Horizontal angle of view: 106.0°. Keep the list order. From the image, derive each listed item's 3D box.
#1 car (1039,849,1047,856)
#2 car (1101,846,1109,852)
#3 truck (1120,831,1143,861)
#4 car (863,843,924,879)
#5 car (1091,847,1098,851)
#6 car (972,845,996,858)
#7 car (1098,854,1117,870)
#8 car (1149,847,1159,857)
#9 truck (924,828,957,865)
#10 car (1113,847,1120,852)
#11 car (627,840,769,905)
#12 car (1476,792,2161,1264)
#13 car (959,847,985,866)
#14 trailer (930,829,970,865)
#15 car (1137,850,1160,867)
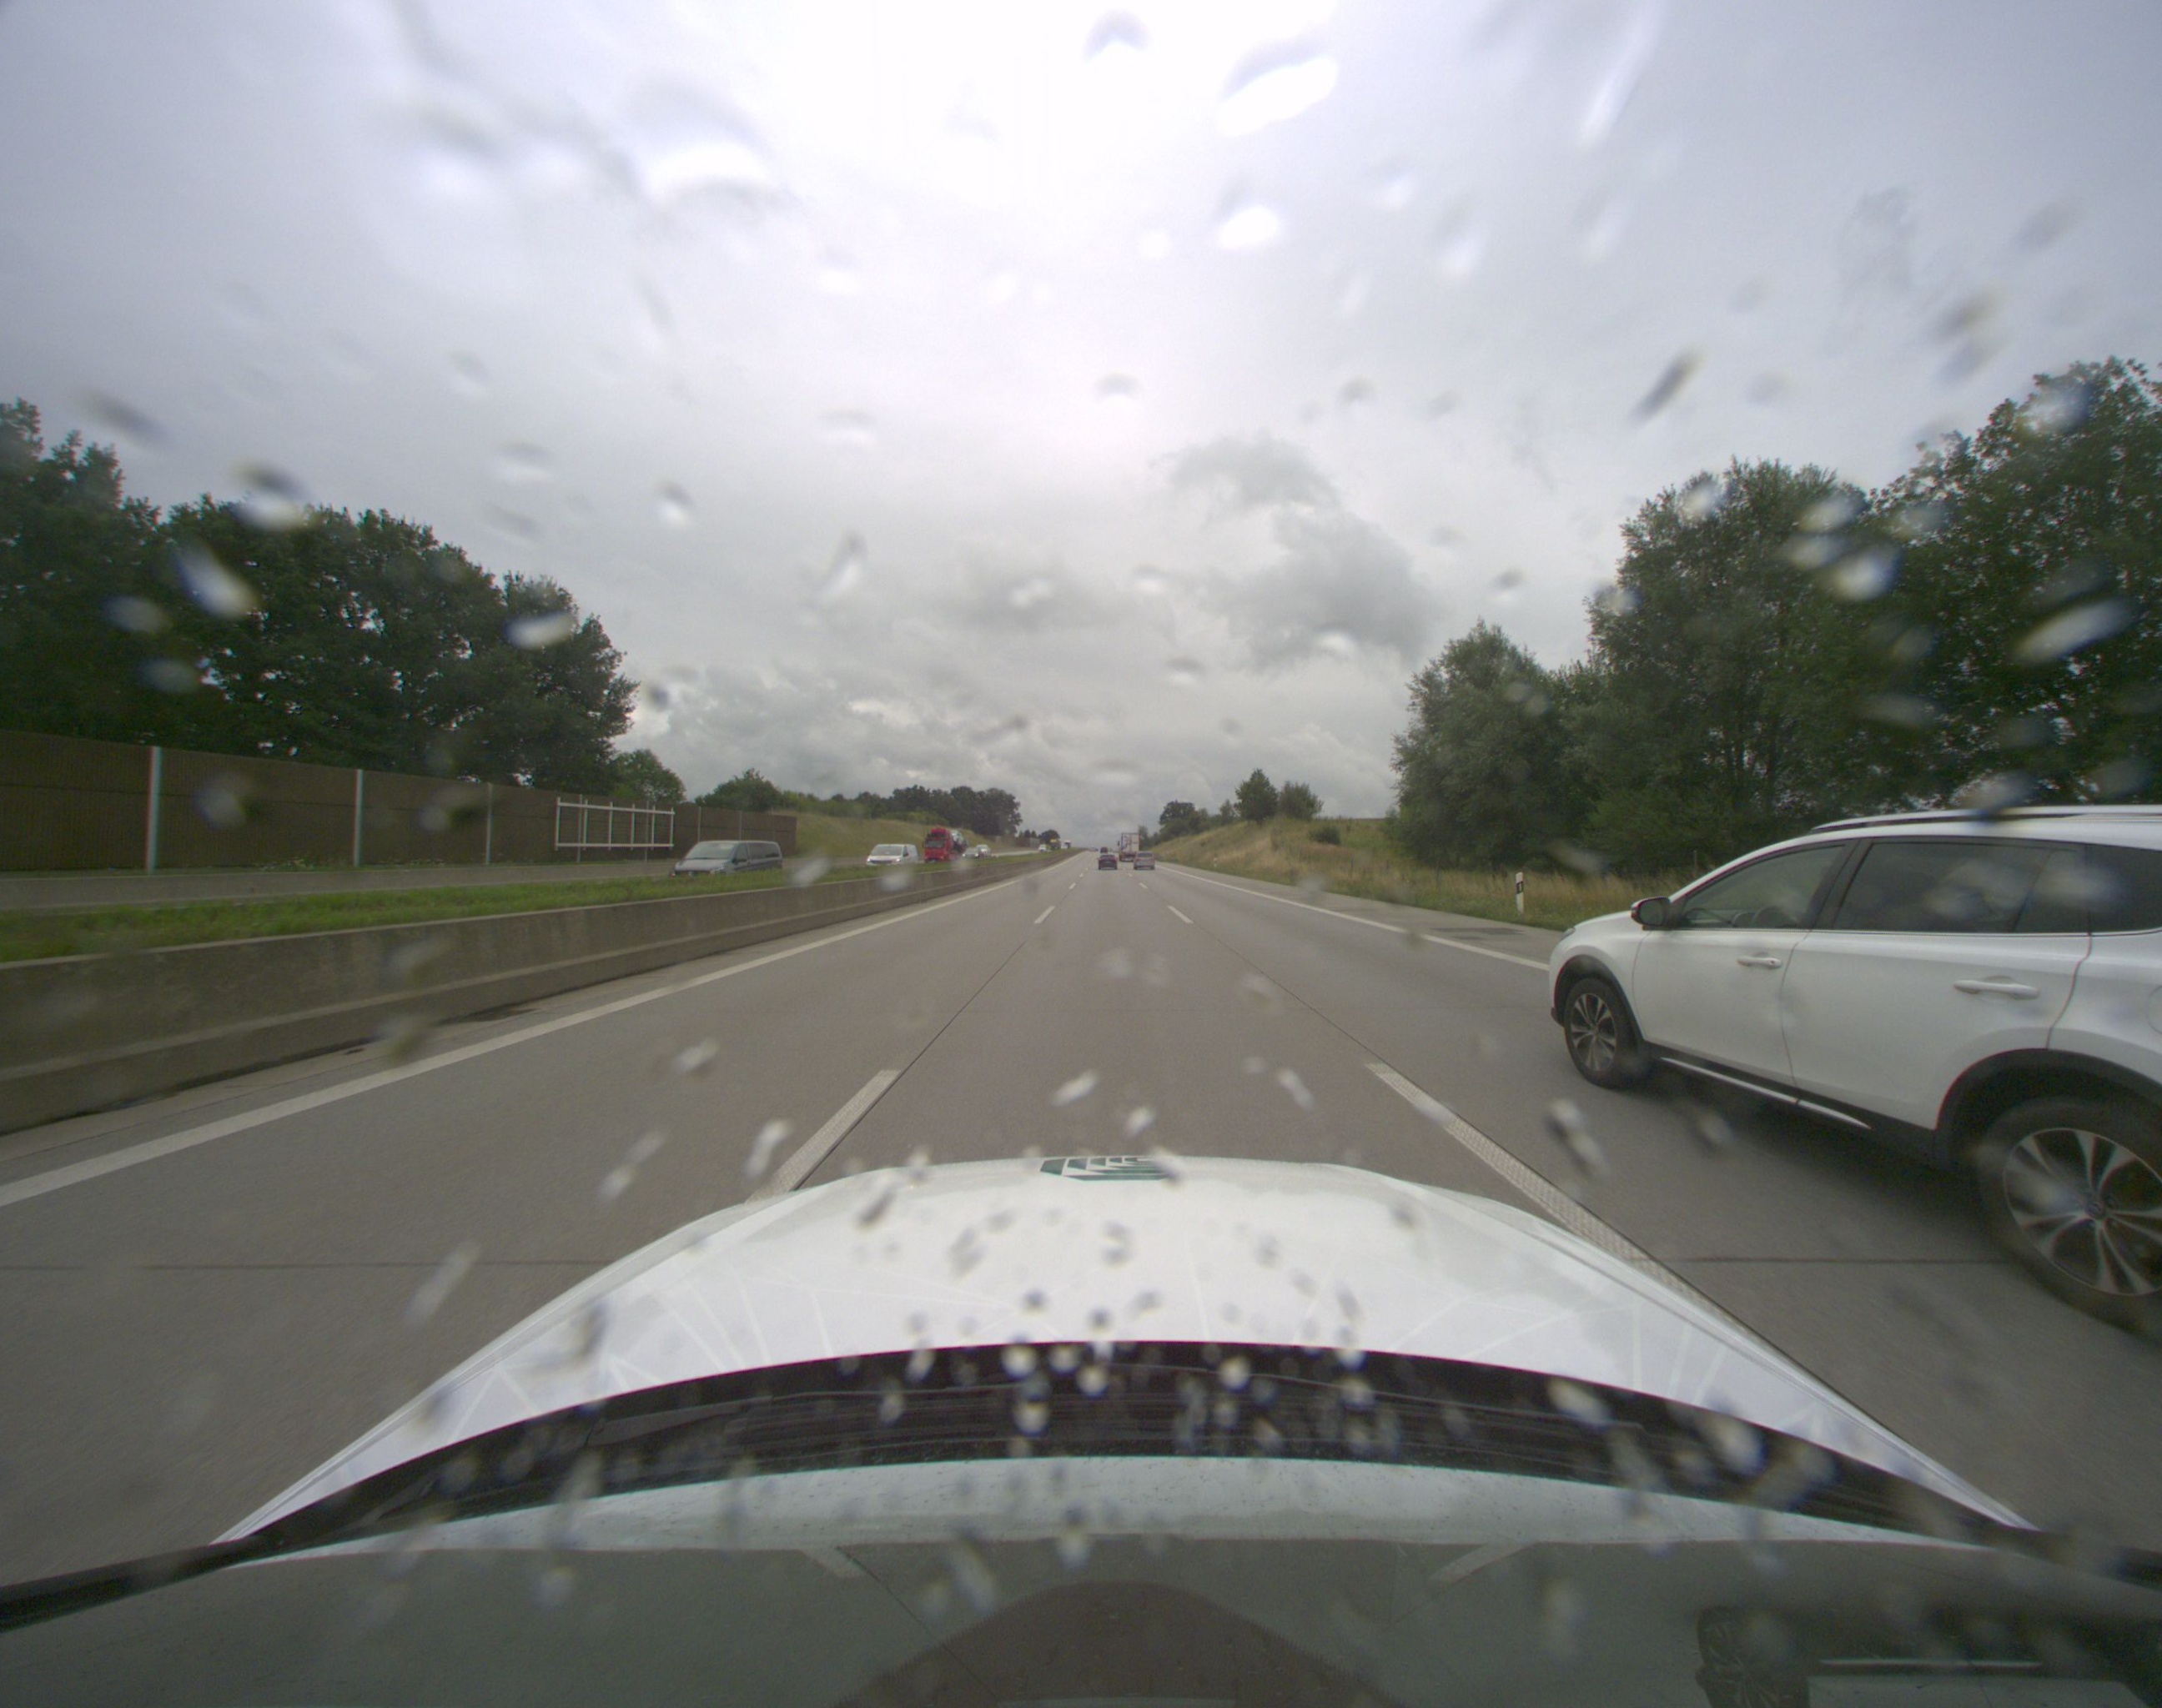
[{"bbox_3d":[-9.527,-0.426,205.284,1.755,1.860,4.001,0,0,1],"label":"car"},{"bbox_3d":[6.193,-1.333,212.144,1.927,1.375,4.597,0,-1,3],"label":"car"},{"bbox_3d":[7.167,-1.038,116.527,3.006,4.180,8.357,0,-1,2],"label":"truck"},{"bbox_3d":[-10.181,0.351,44.721,1.986,1.886,5.514,0,0,1],"label":"car"},{"bbox_3d":[4.254,-1.483,252.566,1.939,1.356,4.262,0,0,3],"label":"car"},{"bbox_3d":[-12.043,-0.353,101.399,2.141,1.551,5.351,0,1,1],"label":"car"},{"bbox_3d":[2.429,0.780,75.330,1.746,1.398,4.484,0,-1,1],"label":"car"},{"bbox_3d":[15.198,-0.426,169.598,1.985,2.014,4.004,0,-1,4],"label":"car"},{"bbox_3d":[-16.613,-0.816,96.750,2.543,4.252,7.464,0,0,1],"label":"truck"},{"bbox_3d":[10.661,-1.339,243.229,1.985,1.640,4.004,0,-1,4],"label":"car"},{"bbox_3d":[-12.311,0.560,26.674,1.986,1.919,5.347,0,0,1],"label":"car"},{"bbox_3d":[4.199,0.605,4.851,1.819,1.655,3.986,0,0,1],"label":"car"},{"bbox_3d":[-12.412,0.284,93.094,2.141,2.013,5.750,0,0,1],"label":"car"},{"bbox_3d":[-16.450,-0.806,103.580,2.543,4.218,13.991,0,0,1],"label":"trailer"},{"bbox_3d":[6.079,0.419,73.997,1.985,1.530,4.004,0,0,4],"label":"car"}]
